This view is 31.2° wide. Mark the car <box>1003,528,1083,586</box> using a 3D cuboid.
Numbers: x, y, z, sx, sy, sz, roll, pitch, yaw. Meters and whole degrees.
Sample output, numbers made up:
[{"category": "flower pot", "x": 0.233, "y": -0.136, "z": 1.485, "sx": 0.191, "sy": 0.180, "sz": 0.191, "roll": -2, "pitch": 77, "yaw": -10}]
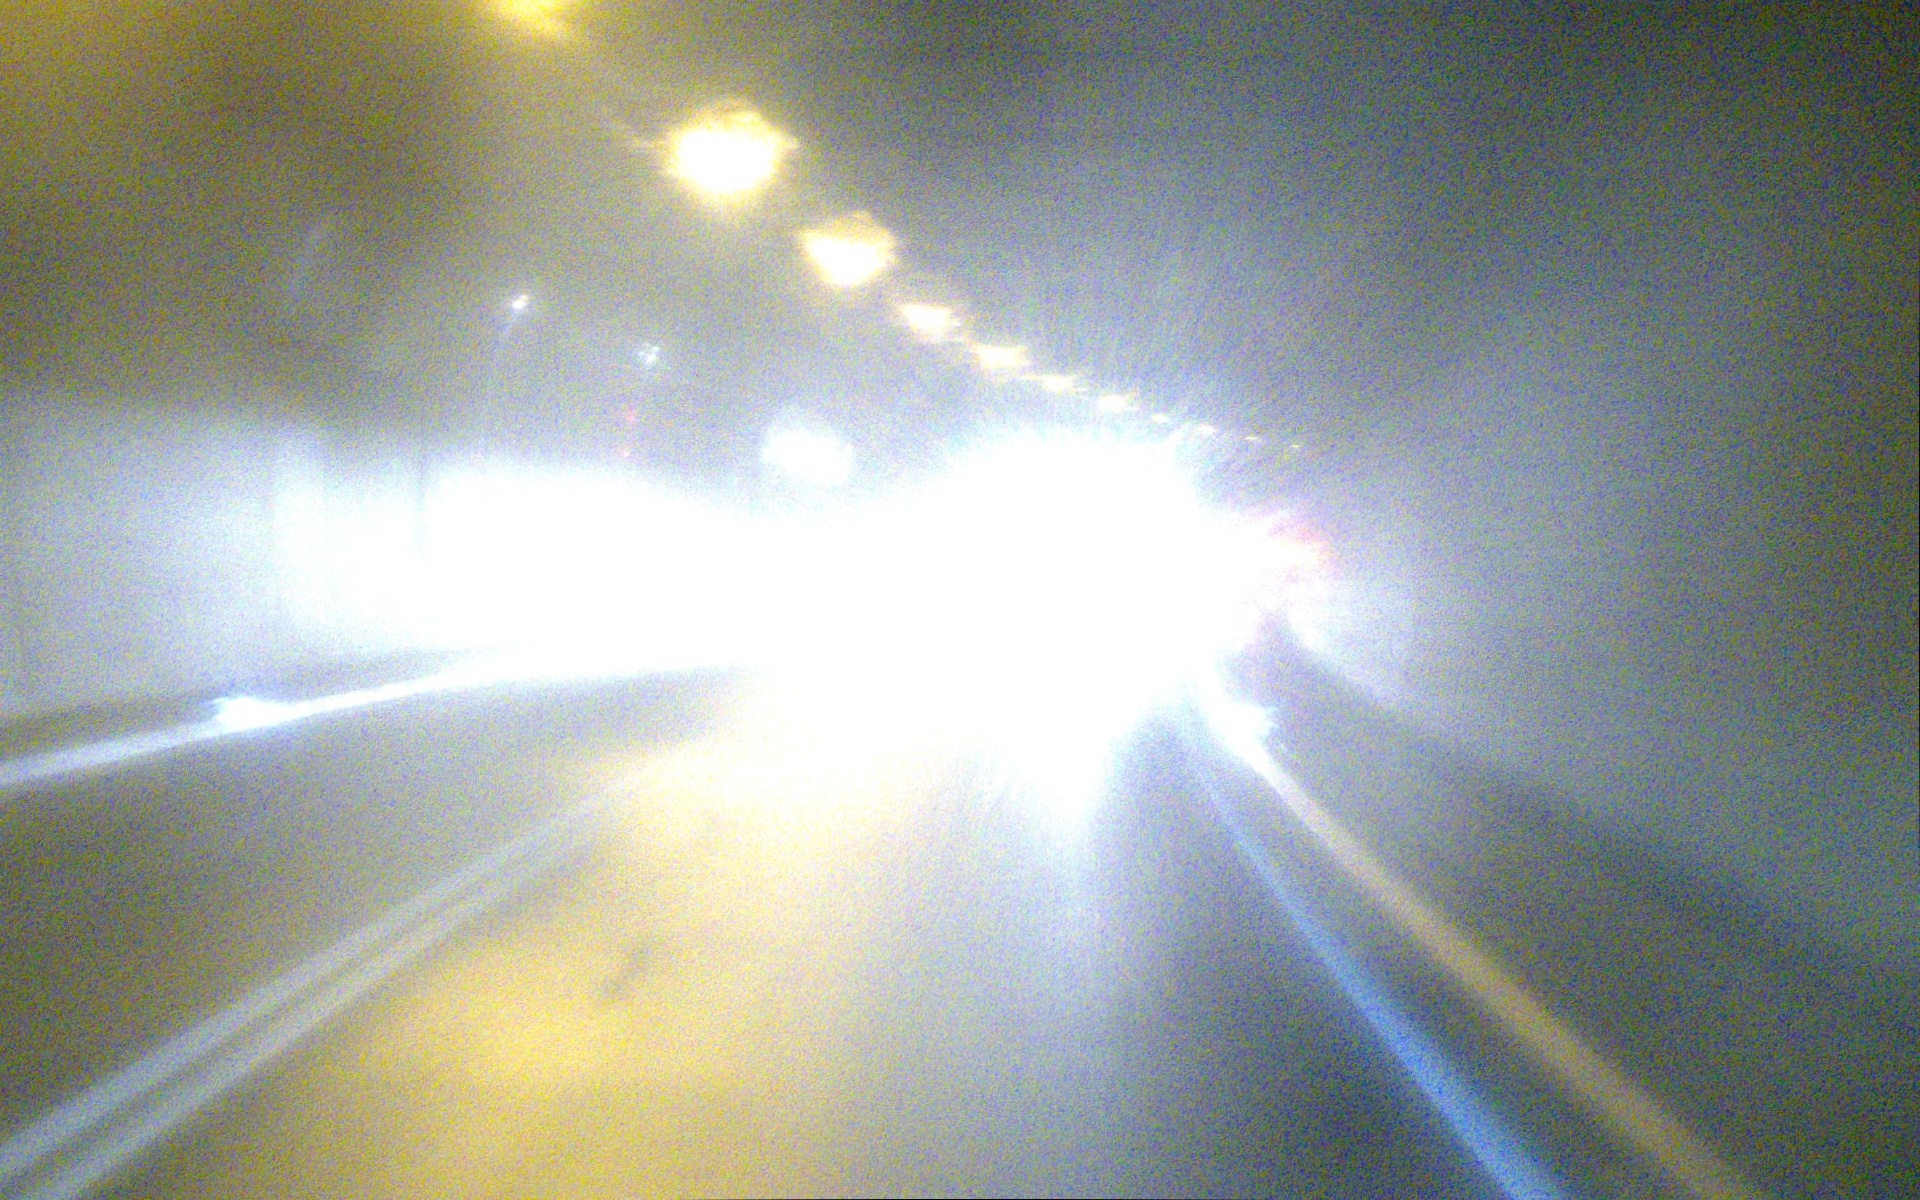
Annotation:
[{"category": "car", "x": 2.086, "y": -1.077, "z": 84.976, "sx": 1.713, "sy": 1.373, "sz": 4.585, "roll": 0, "pitch": 1, "yaw": 5}]

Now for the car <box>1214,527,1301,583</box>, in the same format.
[{"category": "car", "x": 9.145, "y": -1.386, "z": 105.491, "sx": 1.995, "sy": 1.645, "sz": 3.998, "roll": 0, "pitch": 1, "yaw": 15}]
